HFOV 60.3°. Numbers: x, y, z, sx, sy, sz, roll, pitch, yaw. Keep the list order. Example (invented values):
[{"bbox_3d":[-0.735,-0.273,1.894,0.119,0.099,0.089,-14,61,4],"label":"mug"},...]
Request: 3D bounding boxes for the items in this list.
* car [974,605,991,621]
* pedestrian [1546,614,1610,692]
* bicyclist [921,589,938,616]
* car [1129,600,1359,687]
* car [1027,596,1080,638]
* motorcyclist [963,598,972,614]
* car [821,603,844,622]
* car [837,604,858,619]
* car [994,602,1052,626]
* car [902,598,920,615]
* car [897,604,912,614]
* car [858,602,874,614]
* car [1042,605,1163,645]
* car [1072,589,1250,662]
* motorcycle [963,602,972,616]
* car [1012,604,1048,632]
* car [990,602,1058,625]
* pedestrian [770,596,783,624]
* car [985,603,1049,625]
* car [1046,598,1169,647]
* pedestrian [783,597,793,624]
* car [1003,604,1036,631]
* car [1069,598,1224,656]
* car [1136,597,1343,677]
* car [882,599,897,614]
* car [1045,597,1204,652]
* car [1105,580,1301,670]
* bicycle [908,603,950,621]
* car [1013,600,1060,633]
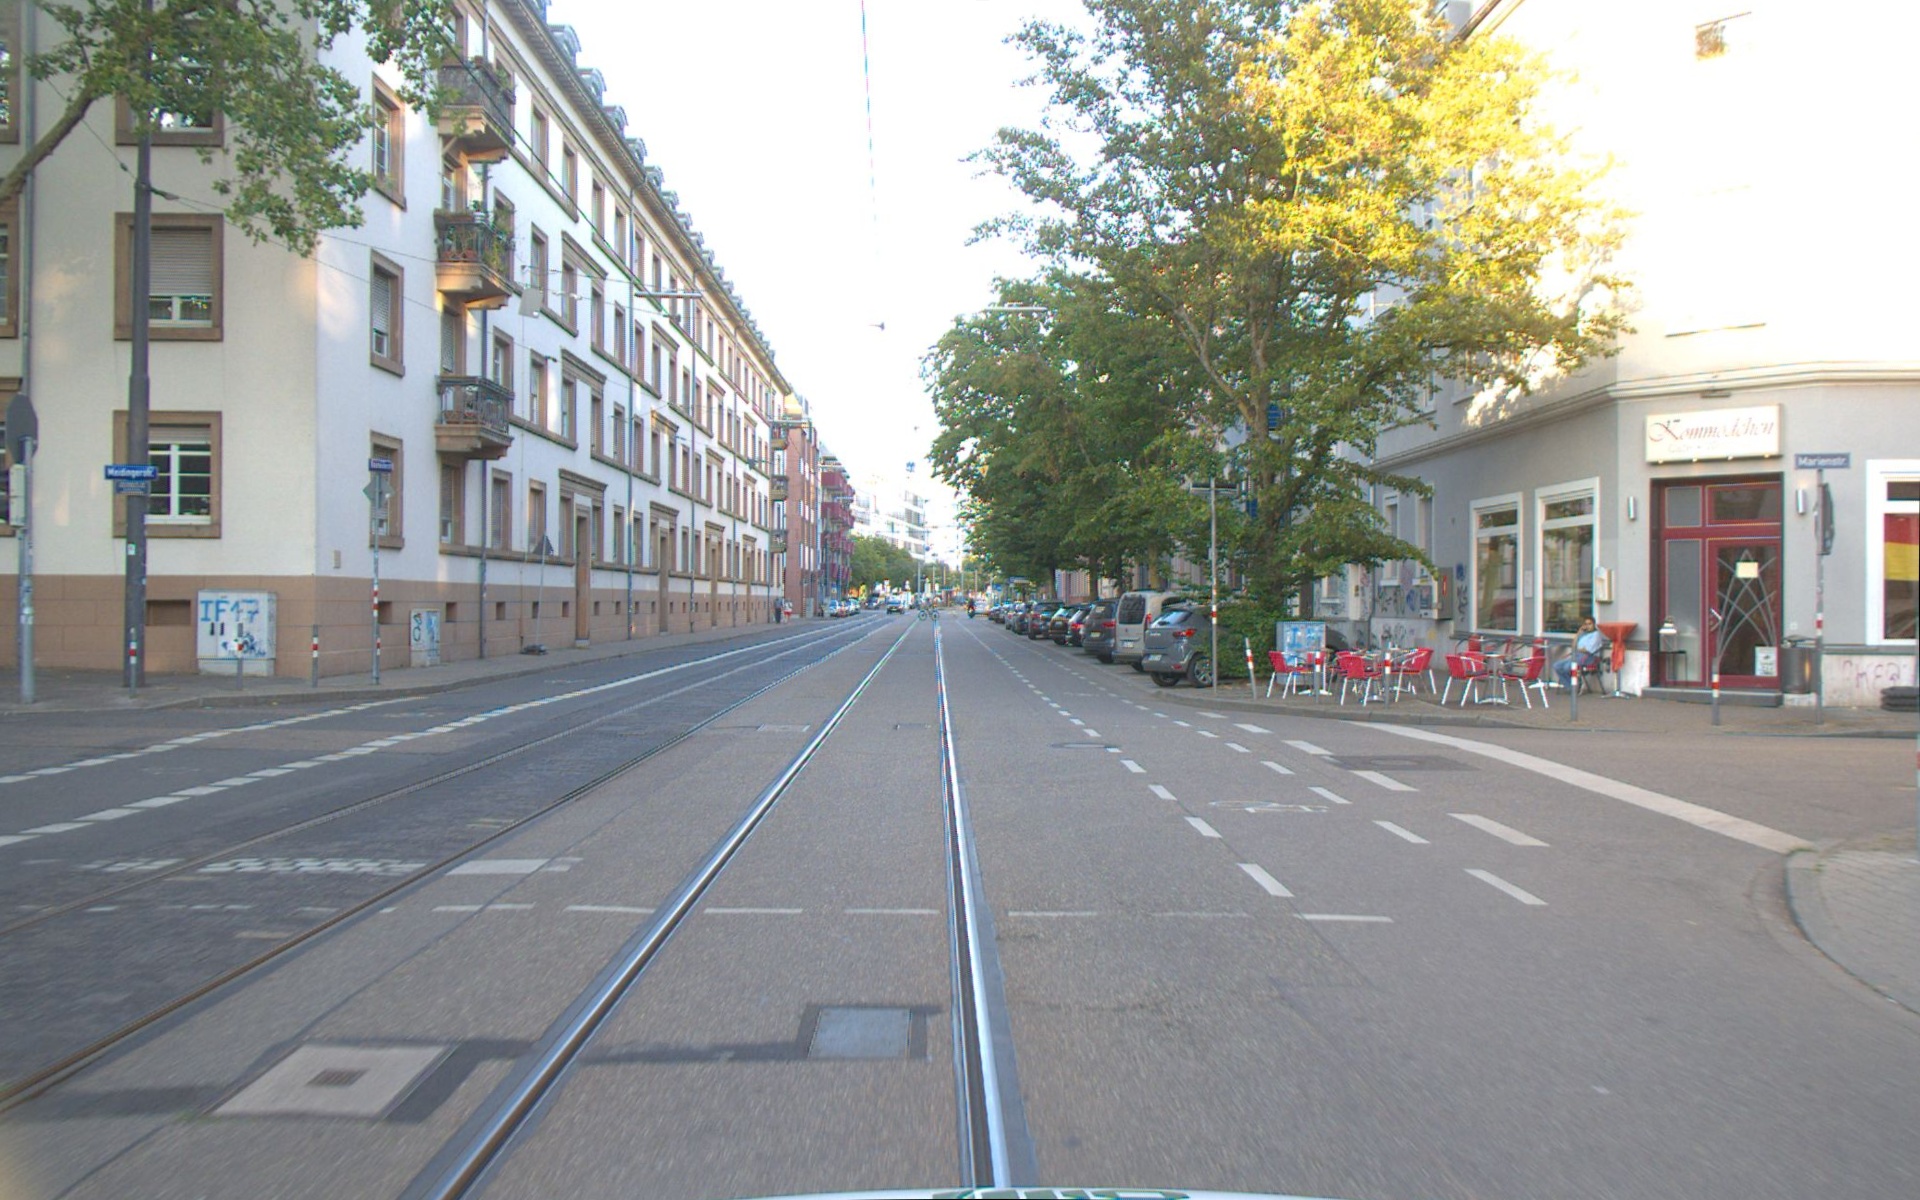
[{"bbox_3d":[2.265,1.268,166.948,1.681,1.583,4.204,1,0,0],"label":"car"},{"bbox_3d":[9.566,0.808,25.595,0.641,1.175,0.686,1,0,-25],"label":"pedestrian"},{"bbox_3d":[-2.311,0.175,126.156,1.191,2.049,0.945,0,0,-9],"label":"bicyclist"},{"bbox_3d":[5.336,0.786,31.111,3.929,1.567,1.769,0,0,-21],"label":"car"},{"bbox_3d":[3.876,0.689,69.378,1.842,1.646,4.261,-2,0,-1],"label":"car"},{"bbox_3d":[0.649,0.534,150.751,0.811,1.499,1.207,0,0,0],"label":"motorcyclist"},{"bbox_3d":[-11.254,1.112,145.920,1.682,1.583,4.203,2,0,0],"label":"car"},{"bbox_3d":[-11.306,1.184,166.117,1.656,1.438,4.677,2,0,1],"label":"car"},{"bbox_3d":[4.262,0.961,112.258,3.512,1.543,1.729,-1,0,-26],"label":"car"},{"bbox_3d":[-7.559,0.977,254.556,2.409,2.526,5.810,0,0,3],"label":"car"},{"bbox_3d":[-8.385,1.404,248.809,1.647,1.464,4.129,0,0,6],"label":"car"},{"bbox_3d":[-14.192,1.225,250.365,1.647,1.729,4.242,0,0,8],"label":"car"},{"bbox_3d":[5.187,0.882,60.158,4.198,1.412,1.607,0,0,-27],"label":"car"},{"bbox_3d":[5.103,0.606,41.954,4.121,1.726,1.834,-1,0,-22],"label":"car"},{"bbox_3d":[0.649,0.827,150.727,0.811,1.261,2.491,0,0,0],"label":"motorcycle"},{"bbox_3d":[3.636,0.919,86.521,1.743,1.405,4.691,-2,0,1],"label":"car"},{"bbox_3d":[4.534,0.981,117.442,4.386,1.543,2.048,-1,0,-24],"label":"car"},{"bbox_3d":[-11.265,0.594,101.548,0.779,1.731,0.981,0,0,-3],"label":"pedestrian"},{"bbox_3d":[4.272,1.059,123.399,4.547,1.482,1.697,-2,0,-26],"label":"car"},{"bbox_3d":[5.102,0.761,57.259,3.901,1.580,1.711,-1,1,-19],"label":"car"},{"bbox_3d":[-10.568,0.651,101.454,0.579,1.638,0.811,0,0,-3],"label":"pedestrian"},{"bbox_3d":[3.282,0.956,92.090,1.586,1.405,3.775,-2,0,-1],"label":"car"},{"bbox_3d":[5.180,0.724,46.003,3.926,1.489,1.711,-1,0,-19],"label":"car"},{"bbox_3d":[5.781,0.738,34.214,3.932,1.594,1.708,0,0,-23],"label":"car"},{"bbox_3d":[-7.432,0.664,174.986,1.528,1.585,3.752,-1,0,-3],"label":"car"},{"bbox_3d":[4.777,0.683,48.176,4.310,1.489,1.711,-1,0,-19],"label":"car"},{"bbox_3d":[5.391,0.527,36.760,3.932,1.847,1.812,-1,0,-23],"label":"car"},{"bbox_3d":[-2.339,0.917,126.154,3.112,1.378,0.955,0,-1,-10],"label":"bicycle"},{"bbox_3d":[3.617,0.773,78.887,1.953,1.515,5.035,-1,0,0],"label":"car"}]
